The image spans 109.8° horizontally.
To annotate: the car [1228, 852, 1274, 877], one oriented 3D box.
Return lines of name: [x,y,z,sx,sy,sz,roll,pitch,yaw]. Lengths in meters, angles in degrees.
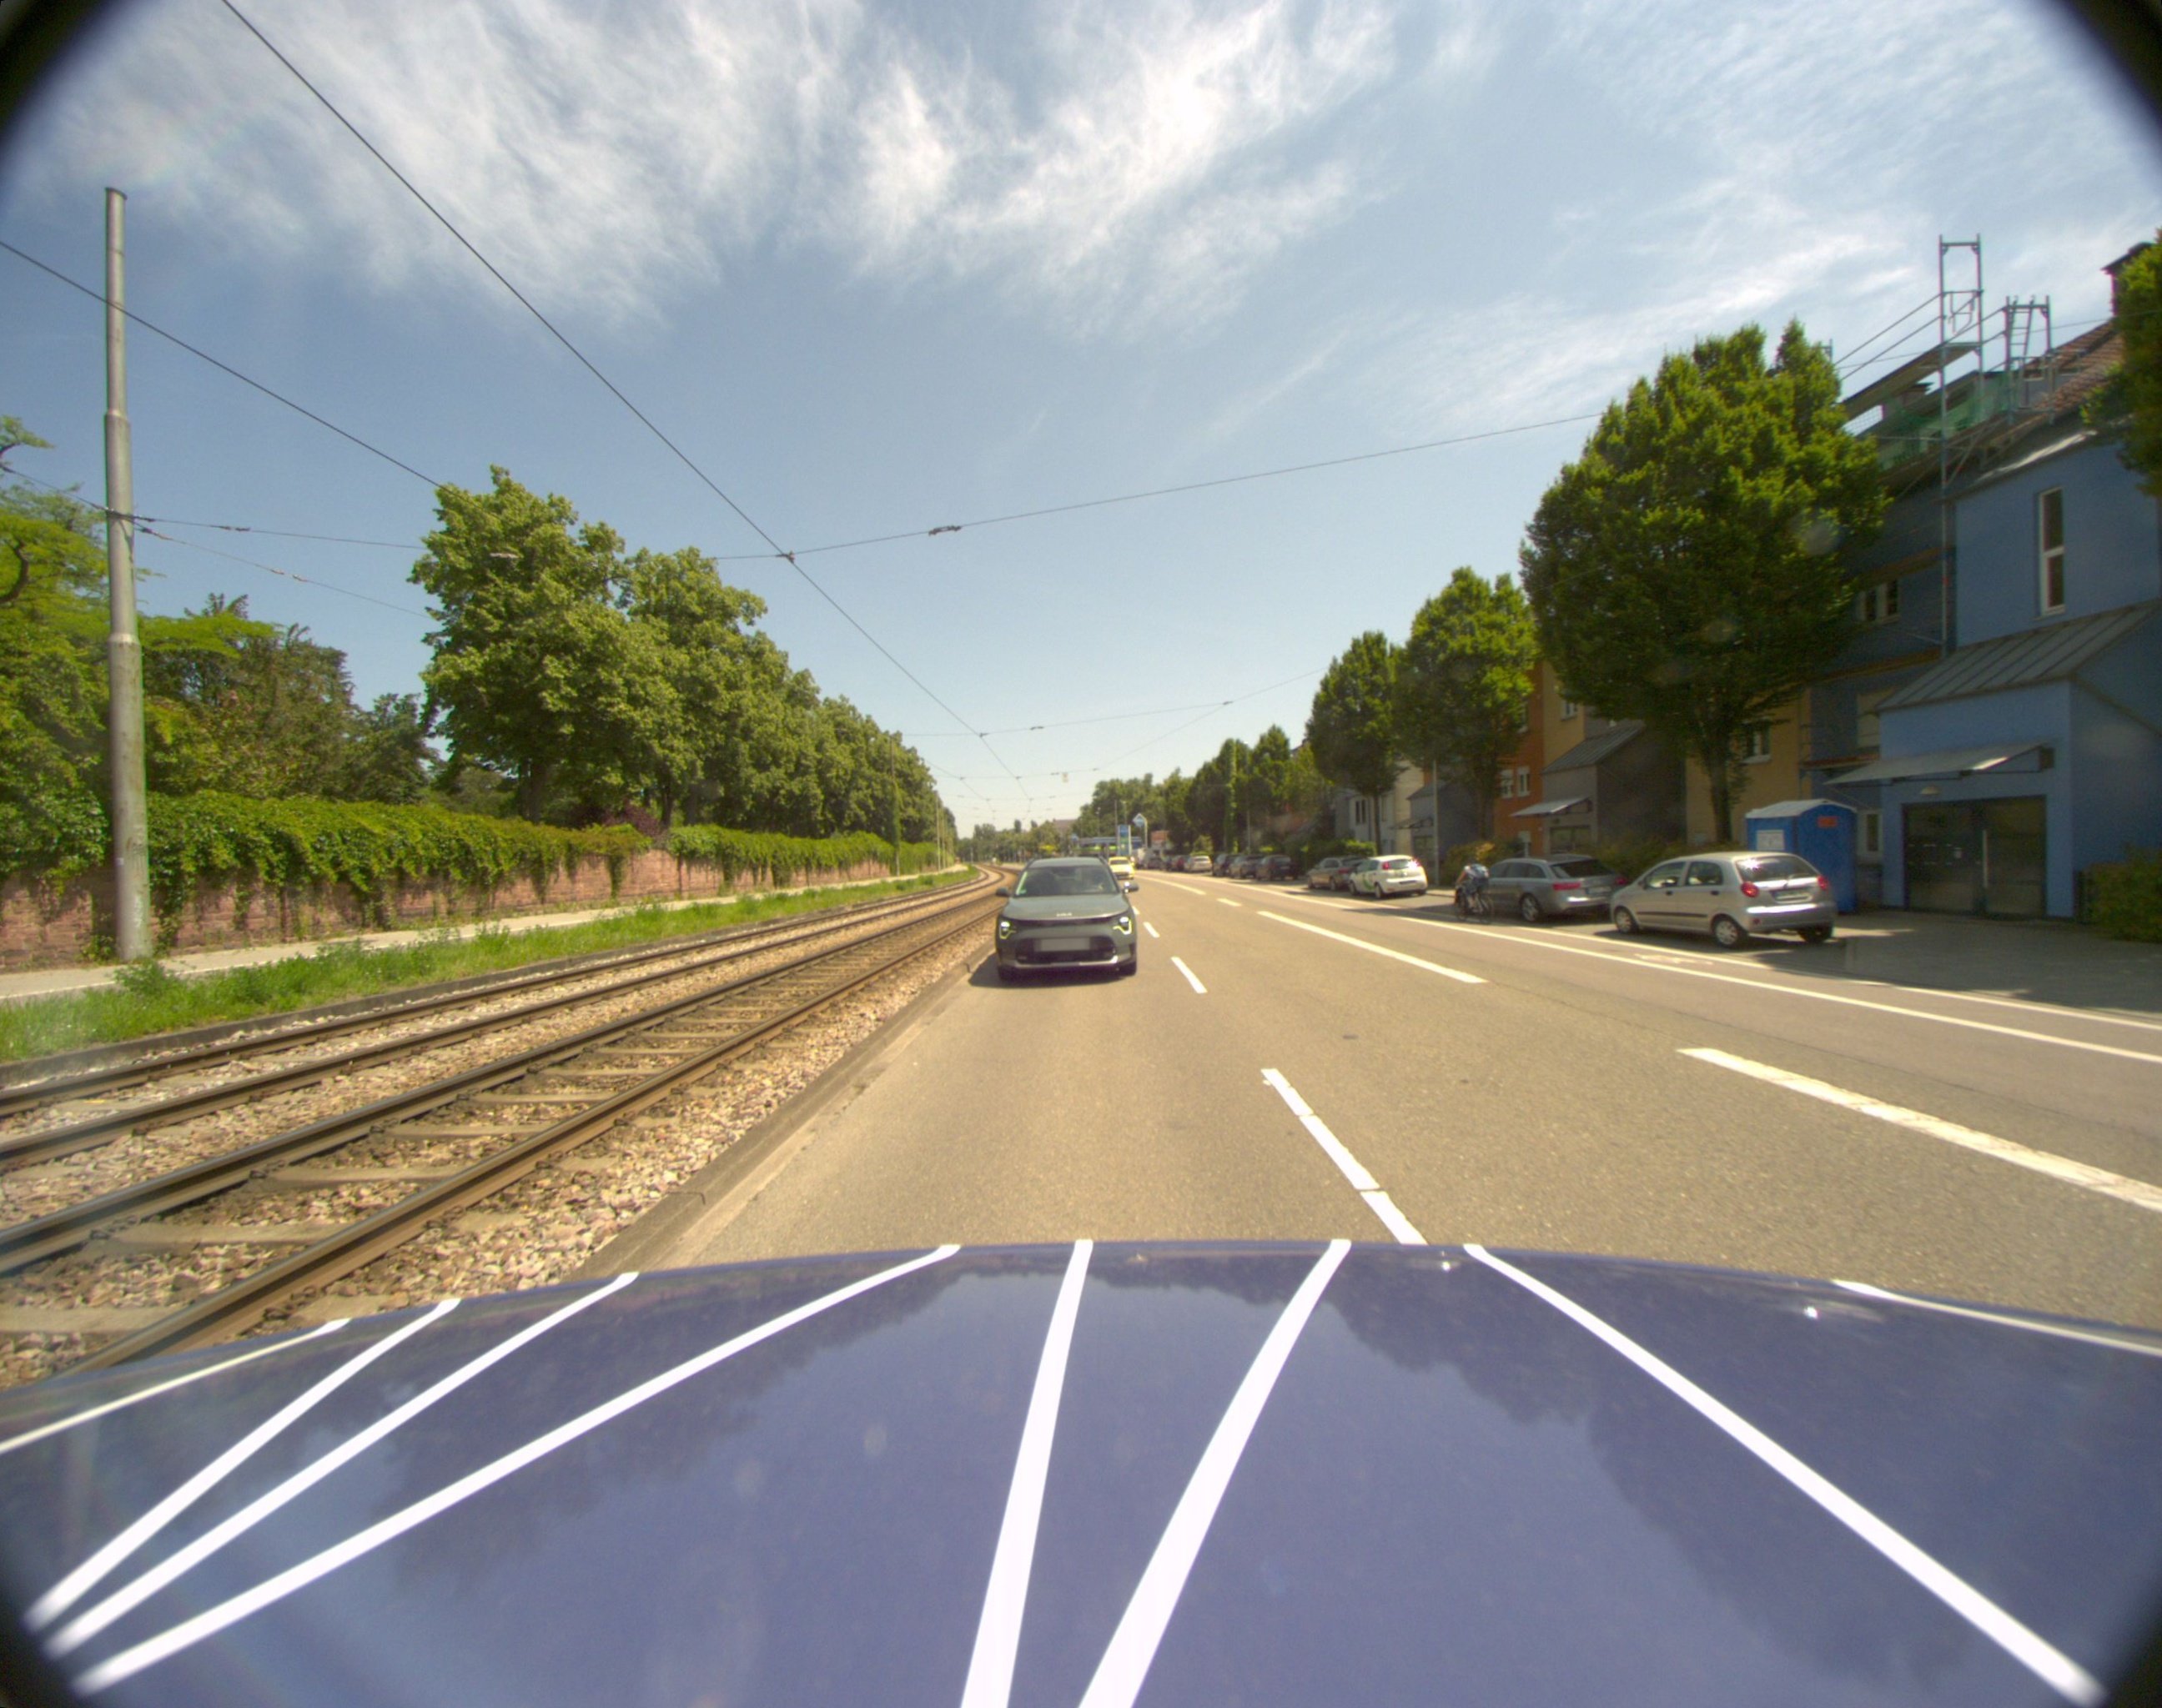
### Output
car: [11.150,0.673,50.251,1.830,1.487,4.756,-3,0,-1]

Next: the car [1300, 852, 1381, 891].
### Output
car: [11.435,0.734,33.846,1.708,1.421,4.750,-6,0,-3]

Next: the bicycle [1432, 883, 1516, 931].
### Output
bicycle: [8.958,1.181,17.428,0.703,0.945,2.243,1,-1,-2]

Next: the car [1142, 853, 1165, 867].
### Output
car: [8.305,0.708,87.307,1.870,1.528,4.142,-3,0,-4]

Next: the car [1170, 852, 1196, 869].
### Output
car: [9.826,0.633,73.287,1.604,1.584,3.680,-3,0,-6]

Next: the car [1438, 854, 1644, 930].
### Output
car: [10.905,0.823,18.592,1.791,1.441,5.133,-6,-1,0]

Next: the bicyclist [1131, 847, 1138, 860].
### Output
bicyclist: [6.035,-0.035,86.177,0.737,1.496,0.737,0,2,1]

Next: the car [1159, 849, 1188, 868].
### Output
car: [9.501,0.458,78.495,1.999,1.783,4.556,-2,0,-5]

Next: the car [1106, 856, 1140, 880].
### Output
car: [2.698,0.904,49.258,1.695,1.403,3.514,-3,0,-4]

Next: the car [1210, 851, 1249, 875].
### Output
car: [10.897,0.639,56.072,1.772,1.579,4.147,-3,0,-3]

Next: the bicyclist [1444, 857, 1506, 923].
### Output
bicyclist: [8.989,0.802,17.377,0.737,1.422,1.124,2,1,-2]

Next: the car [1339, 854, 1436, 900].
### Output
car: [11.330,0.799,28.453,1.750,1.434,4.420,-6,0,0]

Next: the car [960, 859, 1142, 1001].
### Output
car: [-0.249,0.910,10.965,2.062,1.534,4.001,-4,0,3]

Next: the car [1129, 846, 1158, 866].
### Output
car: [7.664,0.312,93.430,2.285,2.294,5.226,-3,0,-8]

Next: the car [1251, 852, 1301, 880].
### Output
car: [11.474,0.672,44.961,1.754,1.424,4.257,-4,0,0]

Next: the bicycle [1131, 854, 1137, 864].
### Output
bicycle: [6.021,0.602,86.165,0.641,1.089,1.638,1,1,1]

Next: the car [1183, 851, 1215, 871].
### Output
car: [10.429,0.604,67.394,1.845,1.573,4.495,-4,0,-2]

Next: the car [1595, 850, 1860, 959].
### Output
car: [10.964,0.768,13.241,1.597,1.487,3.448,-6,0,1]
